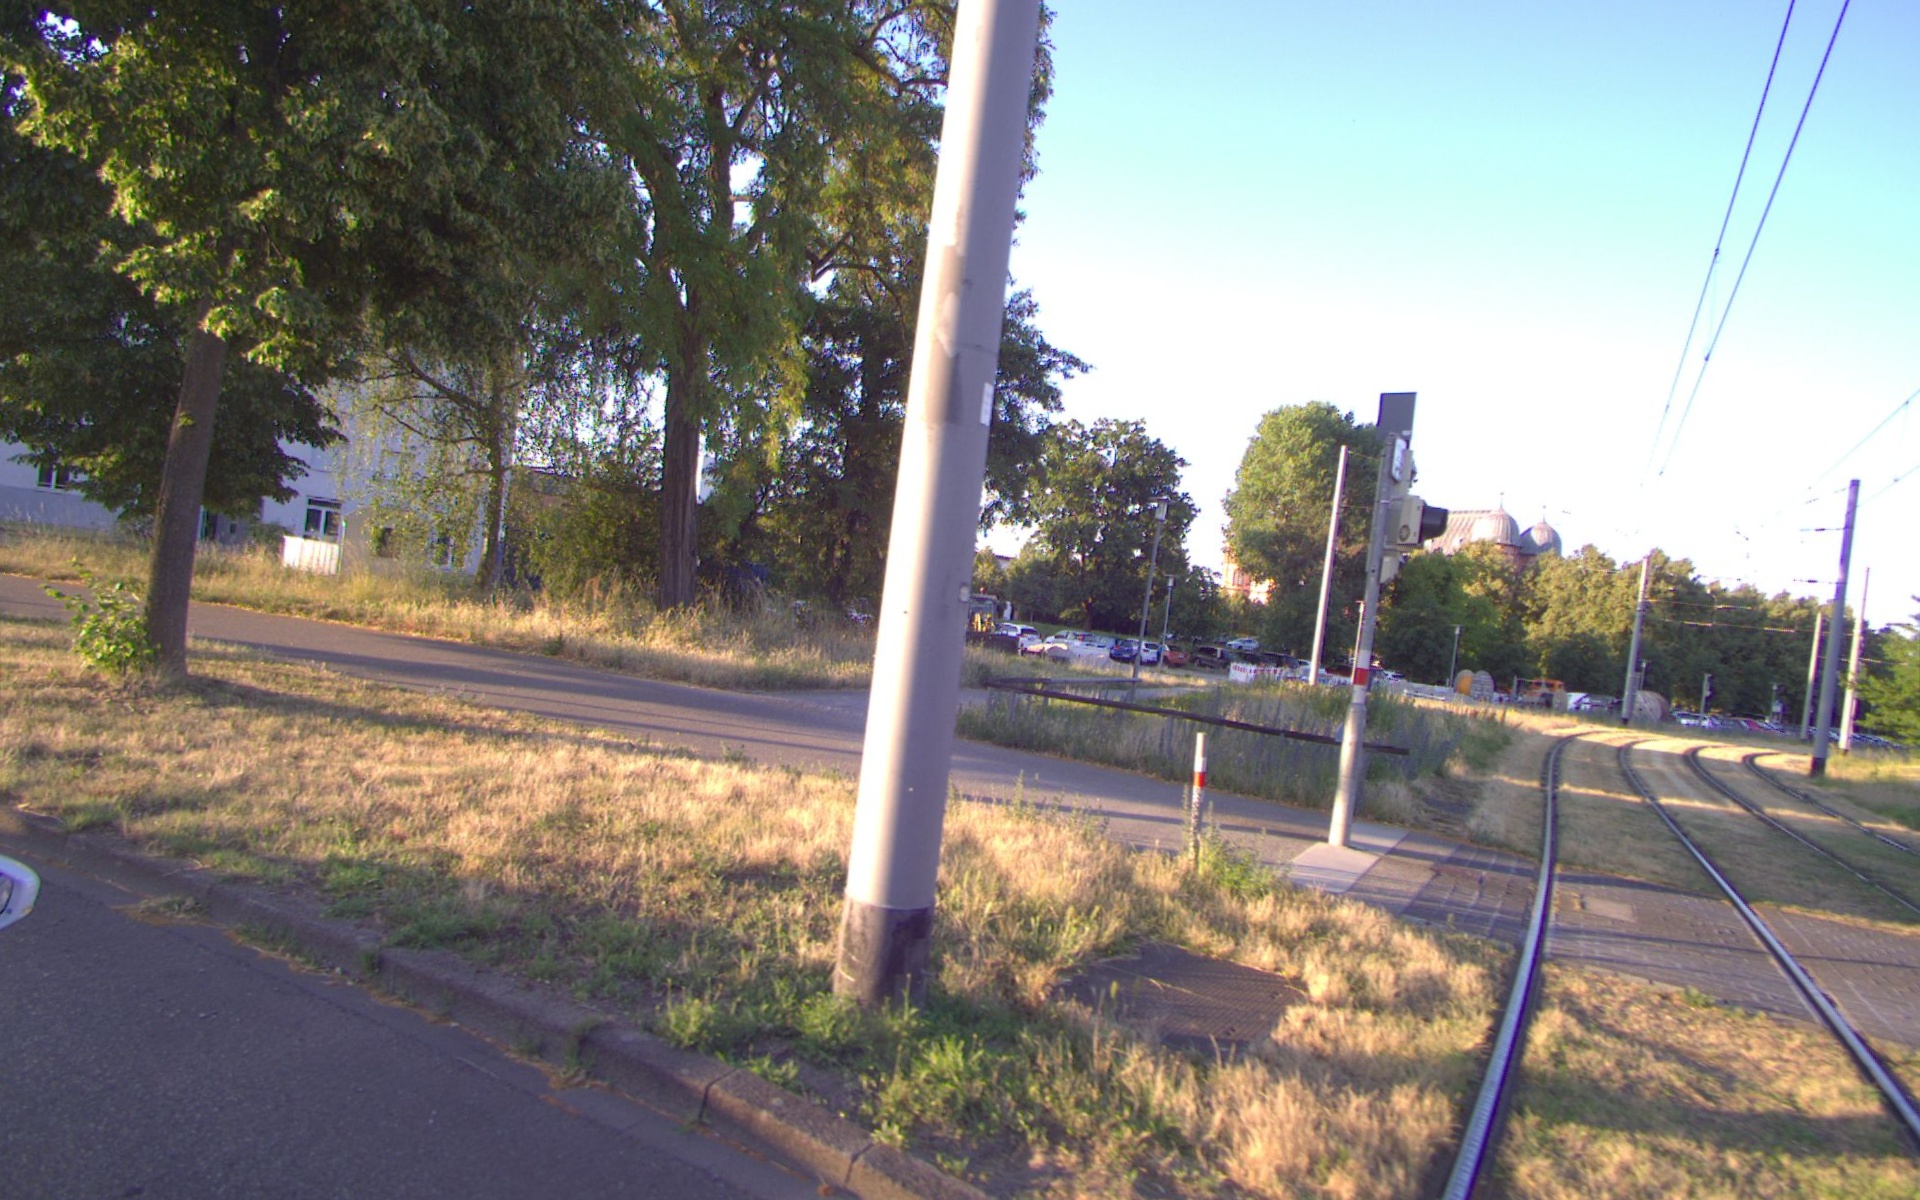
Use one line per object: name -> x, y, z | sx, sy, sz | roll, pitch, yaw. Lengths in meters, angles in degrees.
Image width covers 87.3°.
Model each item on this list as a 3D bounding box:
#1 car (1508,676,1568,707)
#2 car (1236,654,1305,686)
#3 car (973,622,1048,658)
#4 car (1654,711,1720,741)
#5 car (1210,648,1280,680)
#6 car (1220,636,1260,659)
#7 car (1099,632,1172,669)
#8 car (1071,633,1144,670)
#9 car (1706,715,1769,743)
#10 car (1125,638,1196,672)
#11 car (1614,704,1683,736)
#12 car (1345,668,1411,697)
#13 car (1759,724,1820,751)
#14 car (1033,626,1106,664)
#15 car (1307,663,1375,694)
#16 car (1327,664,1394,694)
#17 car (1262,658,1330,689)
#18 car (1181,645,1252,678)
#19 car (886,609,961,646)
car -> 50.802, 8.034, 88.419 | 1.887, 2.121, 3.961 | 7, -1, -36
car -> 20.778, 4.665, 67.428 | 1.887, 1.572, 3.961 | 8, -1, -36
car -> 2.736, 2.166, 55.371 | 1.936, 1.463, 3.961 | 8, -1, -36
car -> 54.392, 9.406, 75.296 | 1.699, 1.499, 3.571 | 9, -1, -39
car -> 18.609, 4.178, 65.844 | 1.887, 1.572, 3.961 | 8, -1, -36
car -> 30.588, 5.180, 109.801 | 3.965, 1.765, 1.981 | 10, -1, -34
car -> 10.584, 3.032, 60.922 | 1.936, 1.682, 3.961 | 7, -1, -36
car -> 8.714, 3.049, 59.720 | 1.936, 1.682, 3.961 | 7, -1, -36
car -> 62.349, 10.332, 80.703 | 1.699, 1.499, 3.571 | 9, -1, -39
car -> 12.456, 3.411, 62.656 | 1.887, 1.572, 3.961 | 8, -1, -36
car -> 49.118, 8.553, 71.810 | 1.699, 1.499, 3.571 | 9, -1, -39
car -> 30.865, 6.068, 74.309 | 1.887, 1.572, 3.961 | 8, -1, -36
car -> 69.375, 11.524, 84.134 | 1.699, 1.499, 3.571 | 9, -1, -39
car -> 6.377, 2.629, 58.725 | 1.936, 1.682, 3.961 | 7, -1, -36
car -> 26.939, 5.559, 71.204 | 1.887, 1.572, 3.961 | 8, -1, -36
car -> 28.957, 5.687, 72.817 | 1.887, 1.572, 3.961 | 8, -1, -36
car -> 23.097, 5.062, 69.244 | 1.887, 1.572, 3.961 | 8, -1, -36
car -> 16.527, 3.941, 65.003 | 1.887, 1.572, 4.059 | 8, -1, -36
car -> -1.953, 1.449, 52.963 | 1.936, 1.463, 3.961 | 8, -1, -36
